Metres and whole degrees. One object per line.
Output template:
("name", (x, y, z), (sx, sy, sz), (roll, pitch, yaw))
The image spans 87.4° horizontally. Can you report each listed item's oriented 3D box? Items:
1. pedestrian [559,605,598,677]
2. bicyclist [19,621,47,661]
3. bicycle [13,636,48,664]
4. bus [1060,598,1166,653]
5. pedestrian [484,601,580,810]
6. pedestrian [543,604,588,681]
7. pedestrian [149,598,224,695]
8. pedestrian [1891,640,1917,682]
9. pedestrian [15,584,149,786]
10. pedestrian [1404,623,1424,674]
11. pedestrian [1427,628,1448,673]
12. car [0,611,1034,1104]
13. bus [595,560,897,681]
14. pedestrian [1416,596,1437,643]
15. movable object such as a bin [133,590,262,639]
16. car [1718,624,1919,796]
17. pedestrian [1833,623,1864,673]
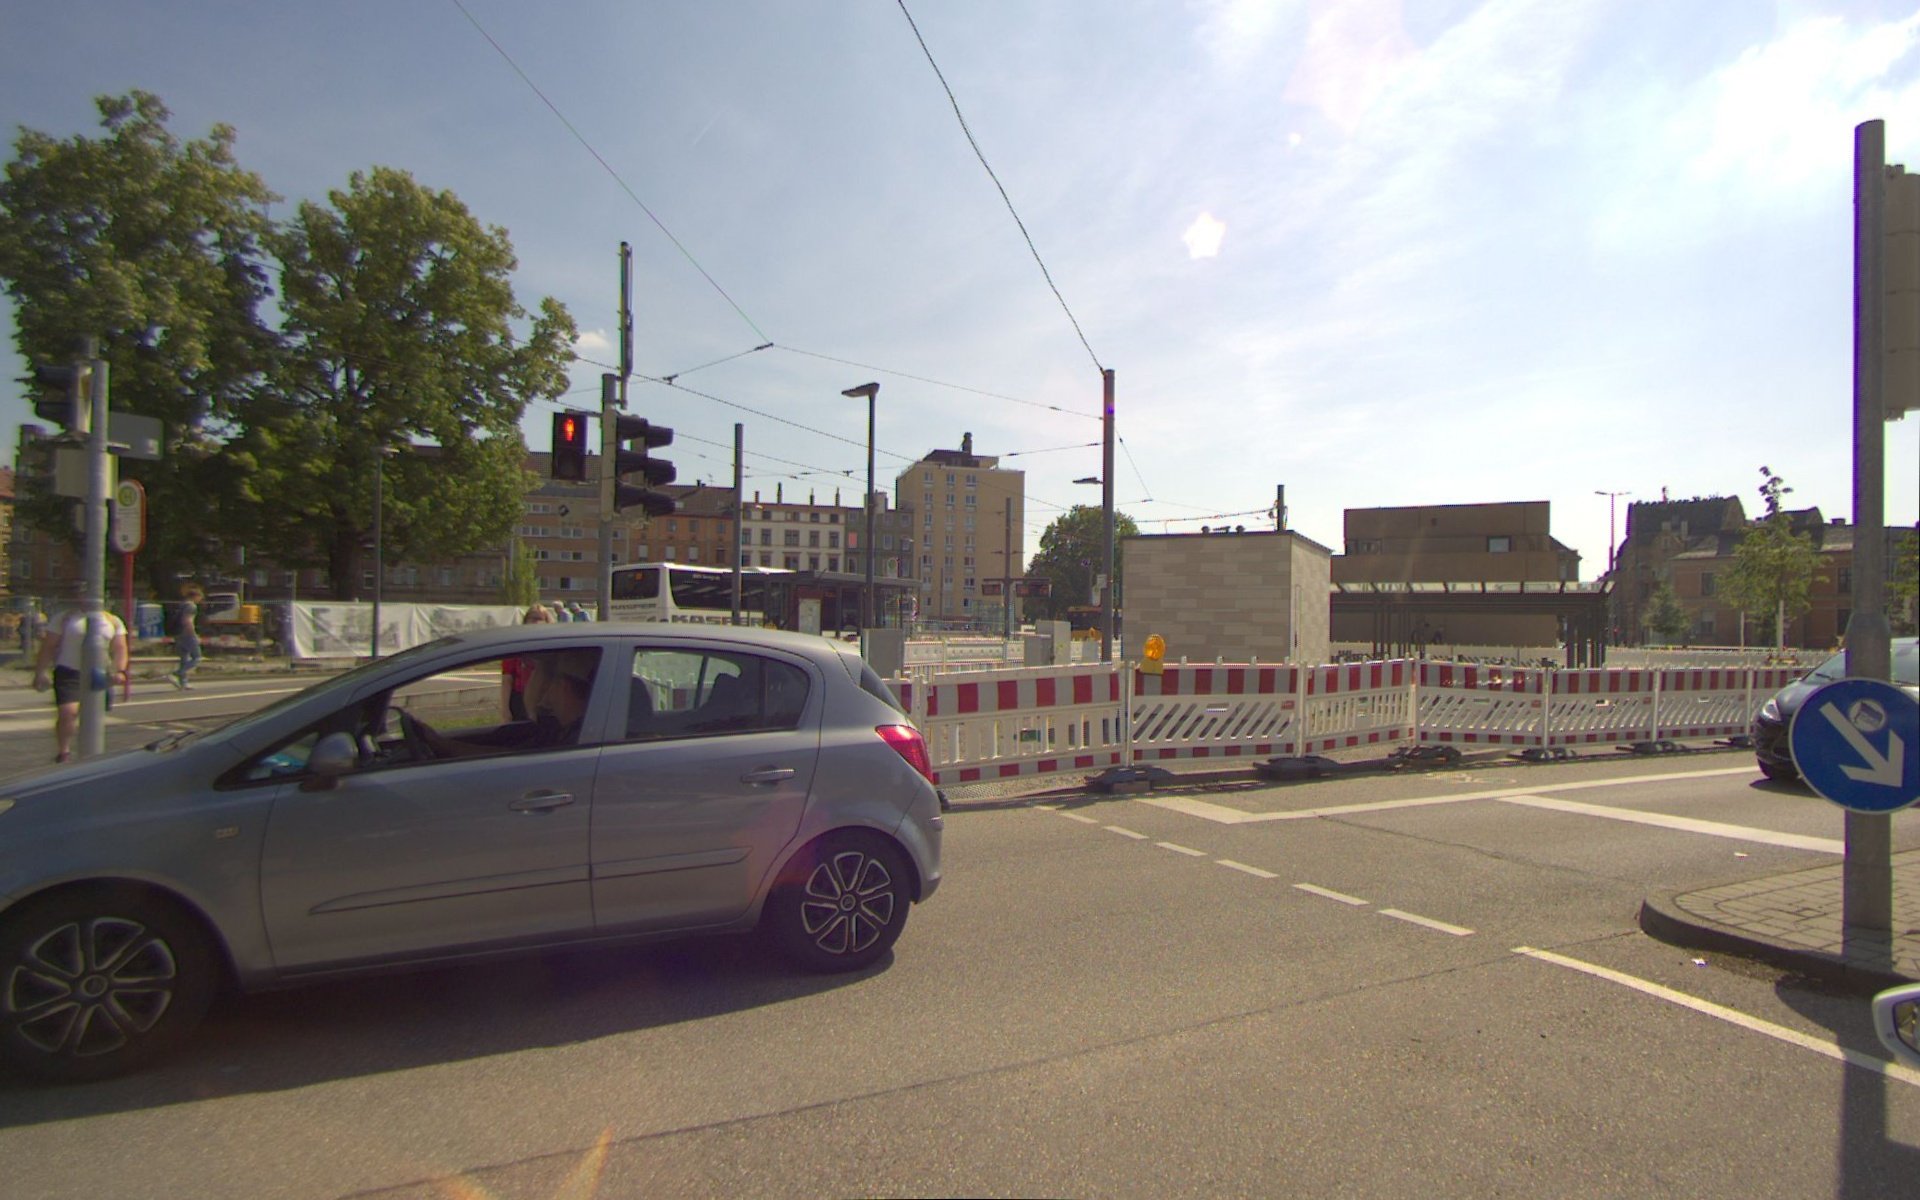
("pedestrian", (-8.737, 0.929, 23.011), (0.676, 1.637, 0.586), (0, -1, -2))
("bicyclist", (-32.565, 1.426, 35.278), (1.157, 1.378, 0.616), (-1, -2, 44))
("bicycle", (-32.317, 1.733, 34.924), (2.041, 0.935, 0.758), (-1, -2, 44))
("bus", (10.502, 1.751, 67.379), (2.811, 3.324, 12.639), (0, -2, 29))
("pedestrian", (-3.483, 0.836, 8.182), (0.677, 1.637, 0.348), (1, -2, -25))
("pedestrian", (-8.460, 0.905, 21.562), (0.780, 1.637, 0.661), (1, -1, -12))
("pedestrian", (-14.283, 0.836, 18.556), (0.547, 1.735, 0.936), (0, -1, 18))
("pedestrian", (34.323, 2.214, 36.522), (0.612, 1.511, 0.625), (2, -2, -42))
("pedestrian", (-8.458, 0.784, 9.688), (0.639, 1.836, 0.838), (0, -1, 36))
("pedestrian", (17.316, 1.848, 38.303), (0.593, 1.940, 0.442), (0, -2, 6))
("pedestrian", (18.459, 1.937, 38.834), (0.558, 1.731, 0.540), (1, -2, -5))
("car", (-1.825, 0.824, 4.405), (3.946, 1.430, 1.789), (1, -3, -26))
("bus", (-6.829, 0.799, 35.514), (2.811, 3.535, 12.638), (0, -2, 29))
("pedestrian", (18.416, 0.774, 39.690), (0.558, 1.801, 0.544), (1, -2, -5))
("movable object such as a bin", (-50.253, 1.030, 66.449), (6.478, 3.049, 2.562), (2, -2, -31))
("car", (9.606, 1.019, 10.062), (3.767, 1.470, 1.661), (1, -3, -26))
("pedestrian", (32.481, 1.773, 36.727), (1.103, 1.775, 0.729), (5, -4, -42))
